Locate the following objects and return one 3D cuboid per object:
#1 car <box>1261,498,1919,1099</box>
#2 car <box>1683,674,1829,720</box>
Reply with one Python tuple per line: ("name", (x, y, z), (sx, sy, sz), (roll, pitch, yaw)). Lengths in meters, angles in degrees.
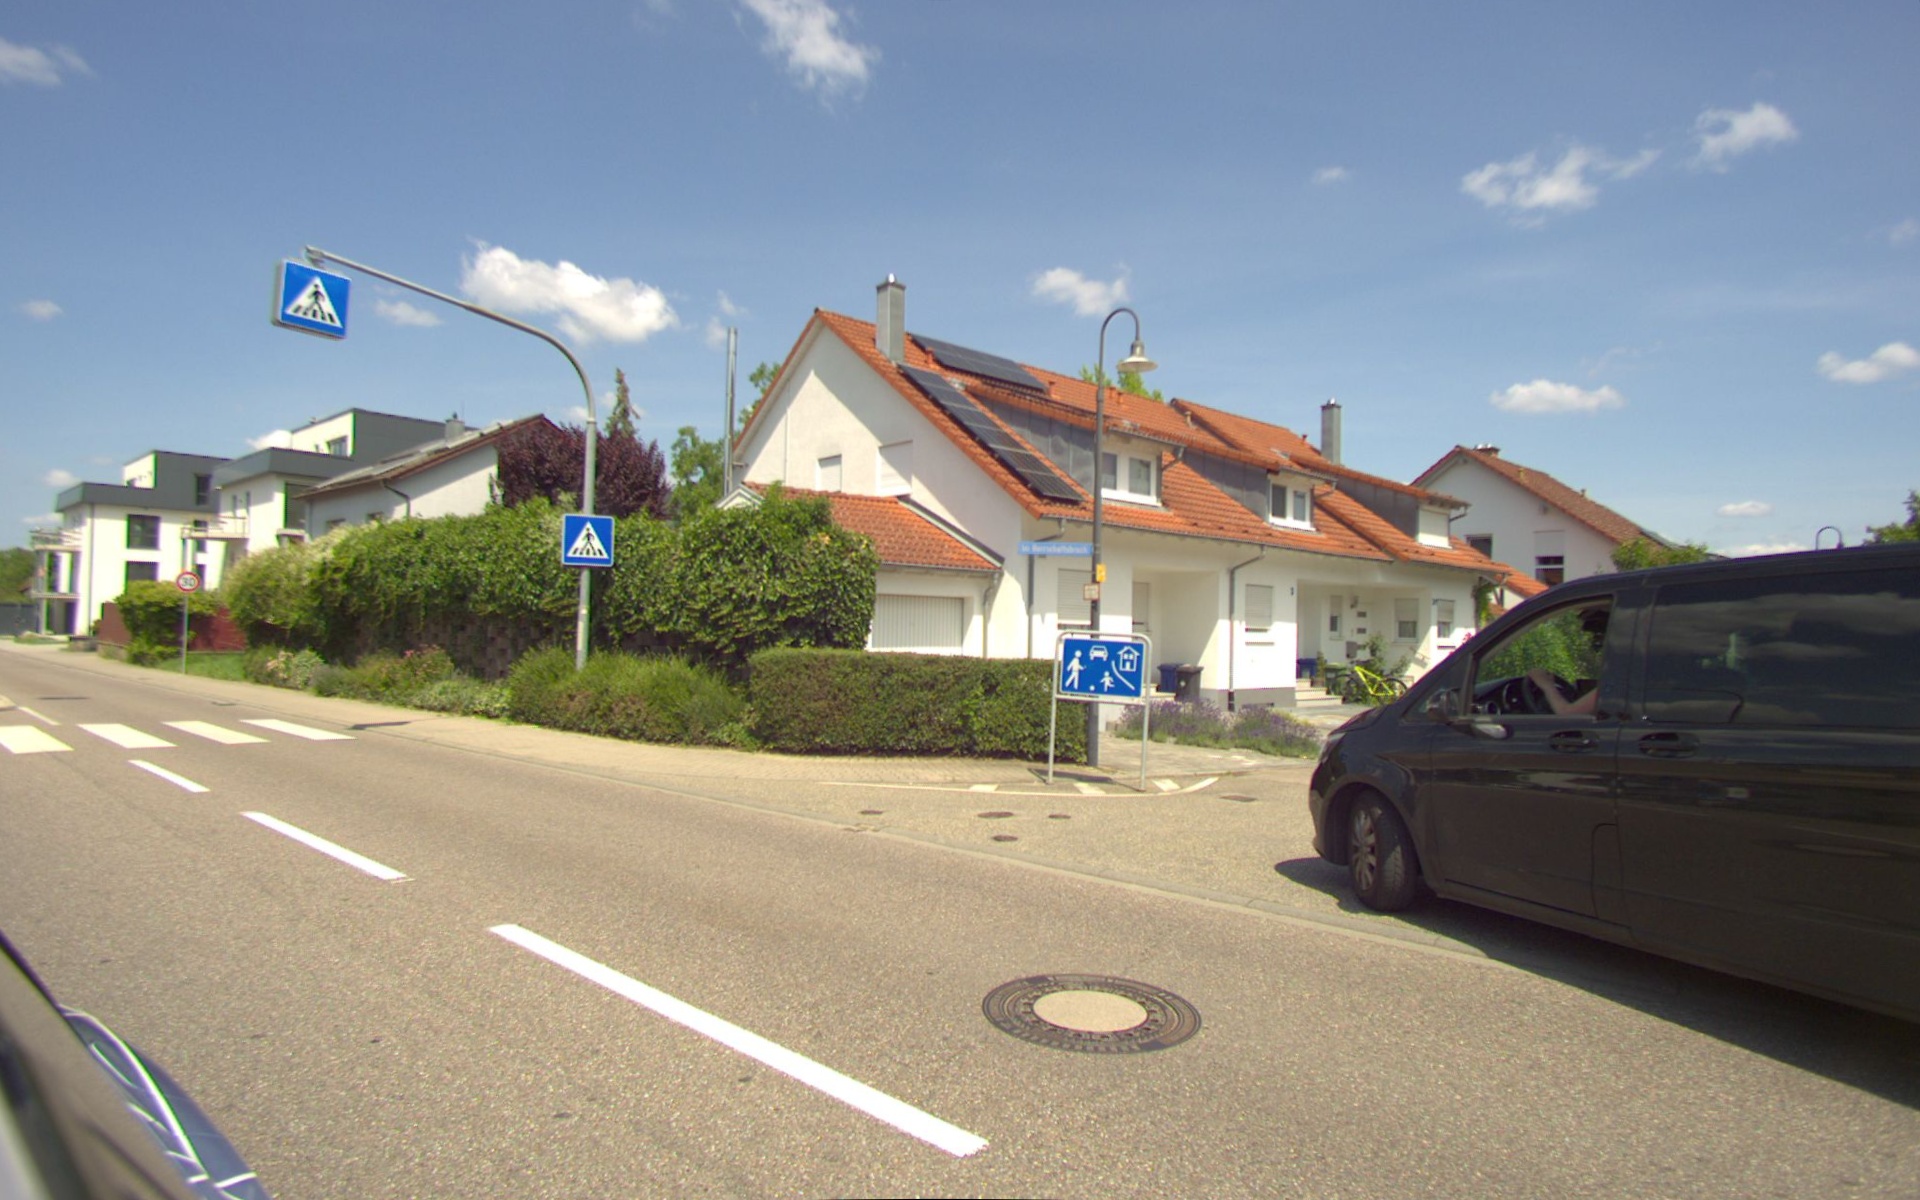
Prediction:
("car", (3.644, 0.685, 4.356), (1.966, 1.866, 5.084), (2, -3, -18))
("car", (23.838, 2.869, 30.374), (1.480, 1.194, 3.281), (4, -4, -44))
